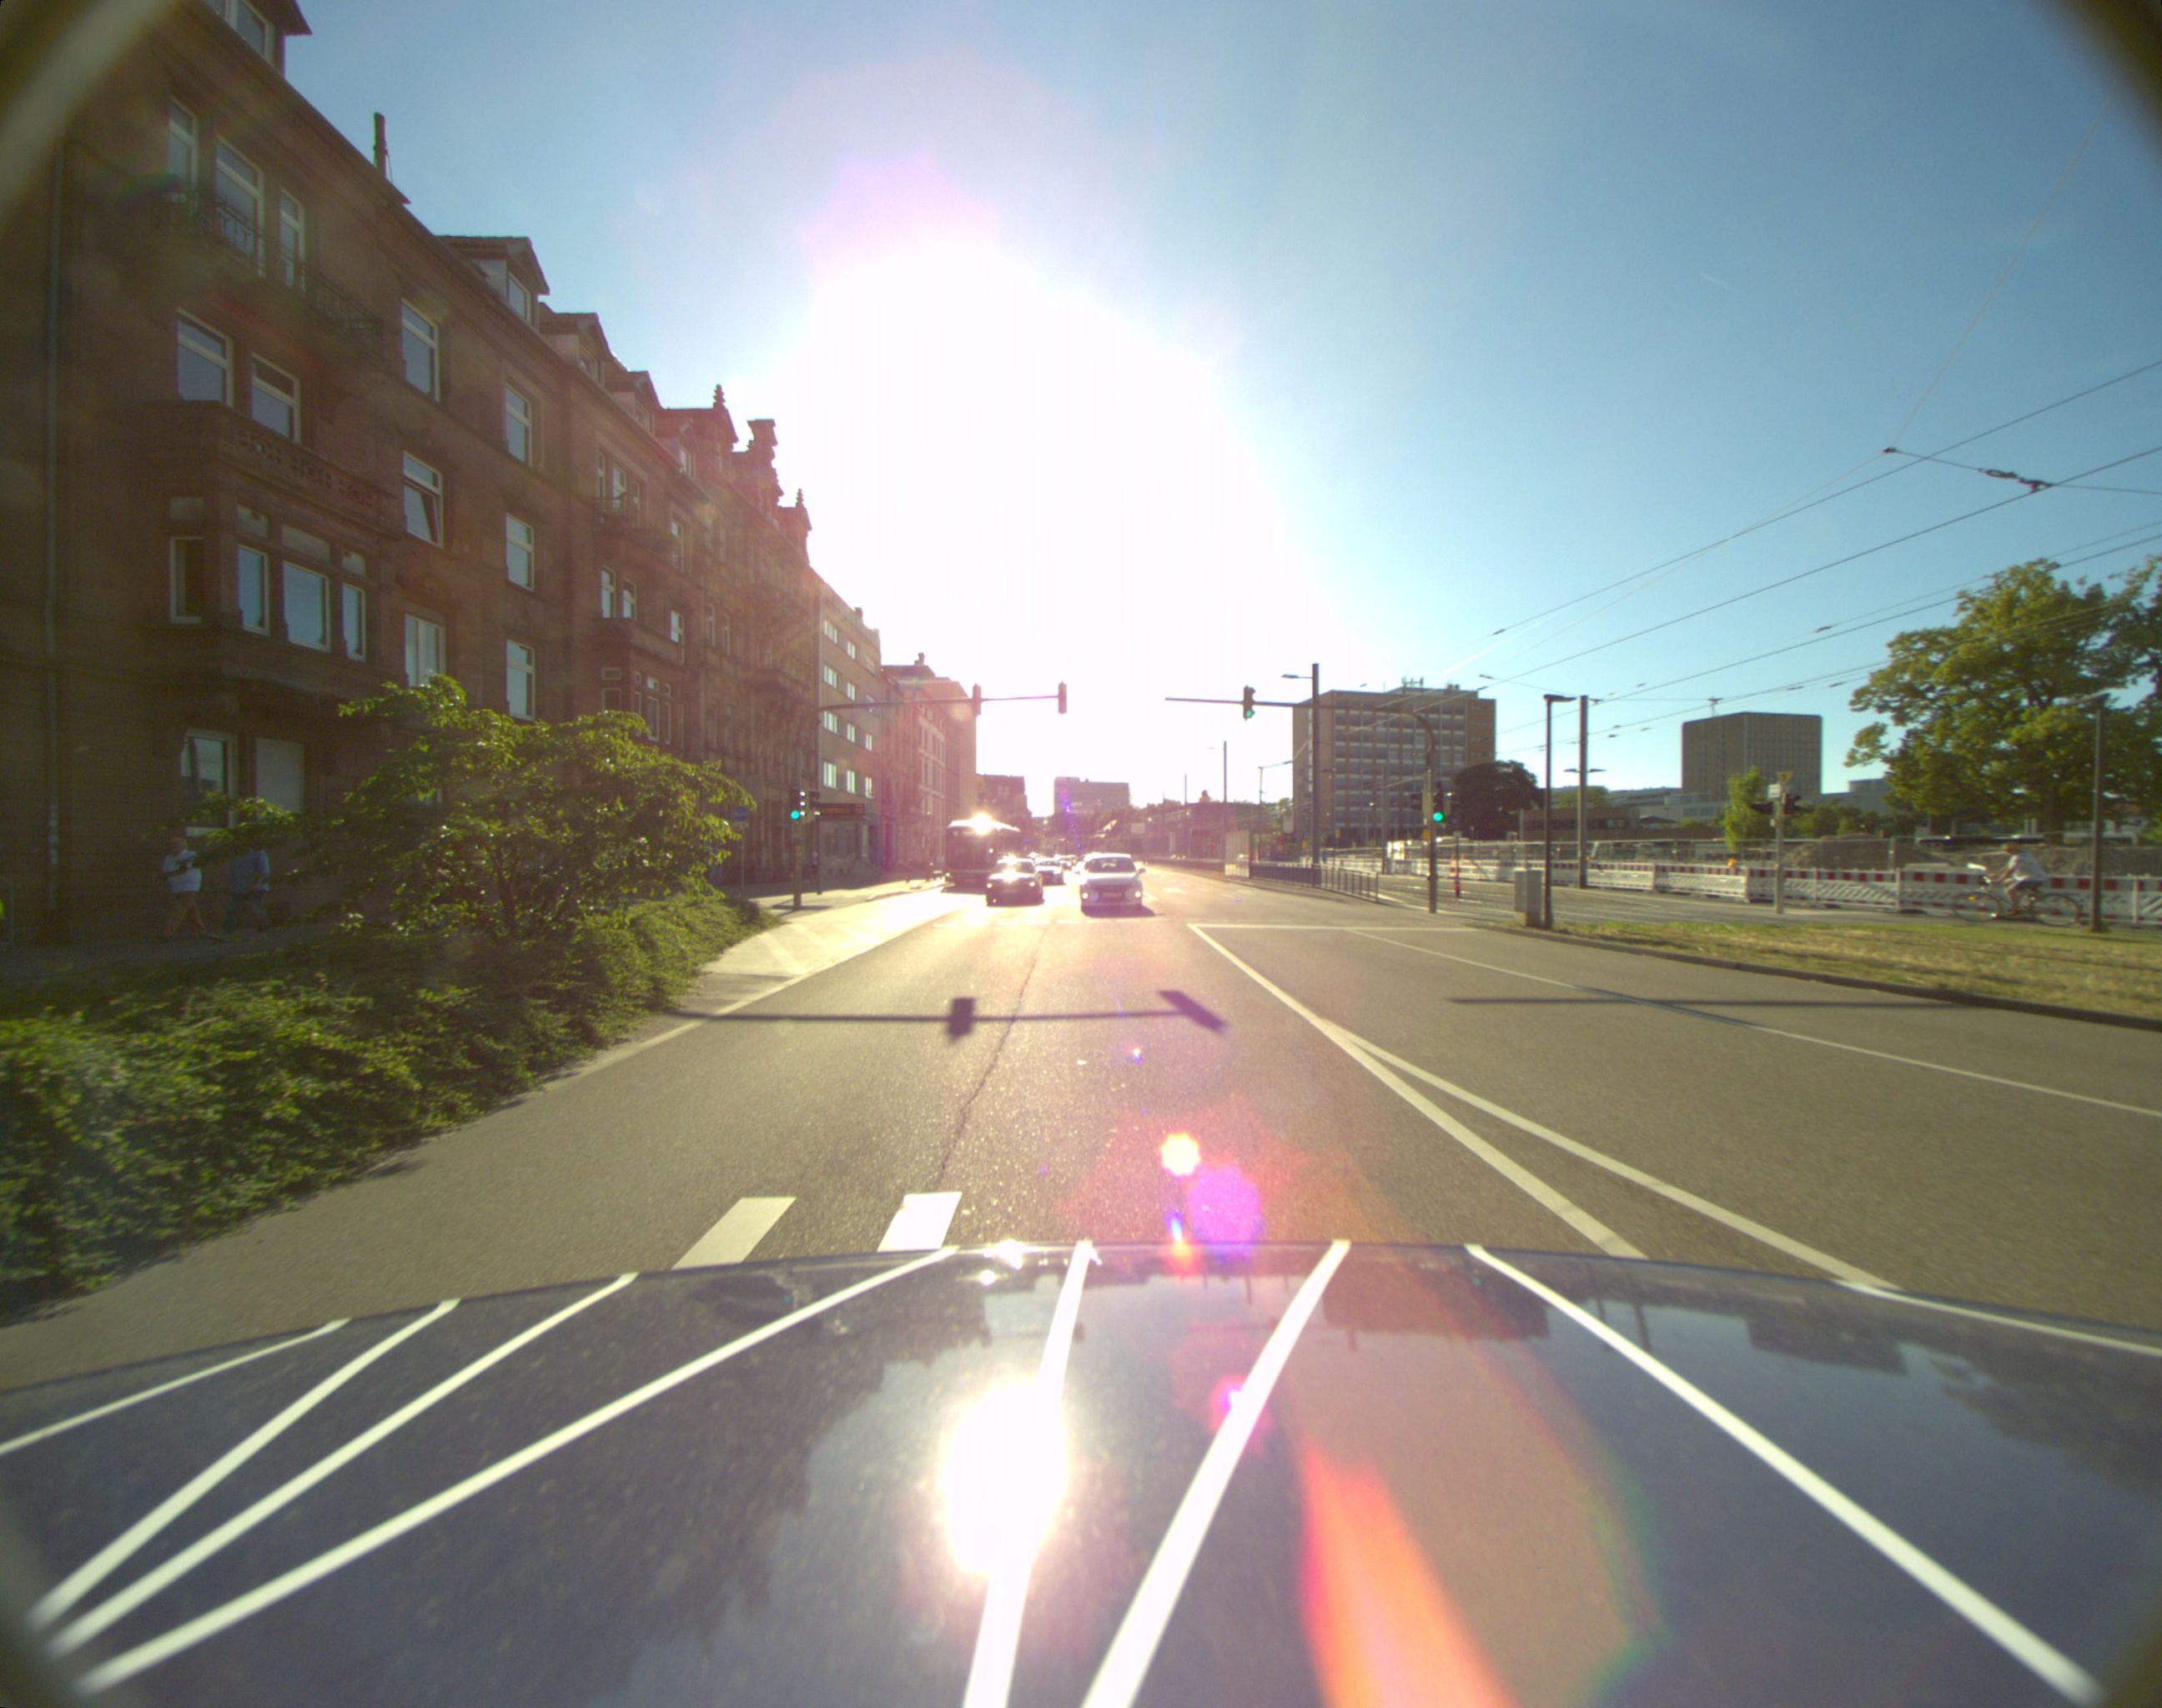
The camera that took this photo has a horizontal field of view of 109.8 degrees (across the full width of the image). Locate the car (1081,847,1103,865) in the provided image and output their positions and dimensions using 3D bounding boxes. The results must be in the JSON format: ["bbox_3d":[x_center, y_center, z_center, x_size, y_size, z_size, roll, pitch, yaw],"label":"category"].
[{"bbox_3d":[1.094,0.181,78.247,1.999,1.666,4.282,2,1,-1],"label":"car"}]

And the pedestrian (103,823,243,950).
[{"bbox_3d":[-14.344,0.496,12.048,0.824,1.919,1.137,0,1,0],"label":"pedestrian"}]

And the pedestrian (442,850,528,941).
[{"bbox_3d":[-11.178,0.753,14.294,0.704,1.646,1.137,0,1,0],"label":"pedestrian"}]

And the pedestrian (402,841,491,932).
[{"bbox_3d":[-11.930,0.588,14.320,0.704,1.646,1.137,0,1,0],"label":"pedestrian"}]

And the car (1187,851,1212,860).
[{"bbox_3d":[23.718,0.361,151.689,4.697,1.673,2.003,0,-2,15],"label":"car"}]

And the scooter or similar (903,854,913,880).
[{"bbox_3d":[-8.647,0.633,38.002,0.433,1.242,1.293,1,2,-11],"label":"scooter or similar"}]

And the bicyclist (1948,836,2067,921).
[{"bbox_3d":[20.449,0.547,16.806,0.965,1.797,1.319,0,-2,-7],"label":"bicyclist"}]

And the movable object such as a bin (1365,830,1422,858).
[{"bbox_3d":[31.454,-0.942,76.681,2.637,2.510,5.163,2,-2,-17],"label":"movable object such as a bin"}]

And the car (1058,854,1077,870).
[{"bbox_3d":[-1.338,0.725,72.413,1.783,1.455,3.914,0,1,-2],"label":"car"}]

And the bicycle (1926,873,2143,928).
[{"bbox_3d":[20.502,0.983,16.486,0.965,1.090,2.823,0,-2,-7],"label":"bicycle"}]

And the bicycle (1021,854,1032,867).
[{"bbox_3d":[-5.098,0.617,71.432,0.470,1.140,1.767,-1,0,-23],"label":"bicycle"}]

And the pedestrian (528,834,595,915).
[{"bbox_3d":[-12.680,0.485,18.577,0.824,1.919,1.137,0,1,0],"label":"pedestrian"}]

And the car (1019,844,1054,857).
[{"bbox_3d":[-5.676,-0.454,97.285,4.260,1.561,1.955,-2,0,-43],"label":"car"}]

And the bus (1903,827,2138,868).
[{"bbox_3d":[81.647,-0.385,66.706,12.625,3.174,3.259,-1,-3,44],"label":"bus"}]

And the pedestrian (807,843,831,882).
[{"bbox_3d":[-12.528,0.426,36.316,0.854,1.822,0.780,1,-2,-1],"label":"pedestrian"}]

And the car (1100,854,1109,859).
[{"bbox_3d":[6.814,0.677,220.321,1.757,1.455,4.016,-1,-1,-12],"label":"car"}]

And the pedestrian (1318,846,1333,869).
[{"bbox_3d":[19.156,0.255,59.471,0.804,1.757,1.180,1,-2,0],"label":"pedestrian"}]

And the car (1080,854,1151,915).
[{"bbox_3d":[0.894,0.775,20.989,1.720,1.483,3.870,-2,0,1],"label":"car"}]

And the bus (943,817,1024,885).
[{"bbox_3d":[-5.114,-0.185,42.255,2.722,3.162,12.540,1,0,1],"label":"bus"}]

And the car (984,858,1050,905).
[{"bbox_3d":[-2.058,0.853,25.443,1.694,1.380,3.832,-2,0,2],"label":"car"}]

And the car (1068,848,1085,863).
[{"bbox_3d":[-0.586,0.195,94.374,1.999,1.673,4.000,1,-2,-3],"label":"car"}]

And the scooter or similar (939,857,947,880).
[{"bbox_3d":[-7.838,0.793,43.155,0.432,1.242,1.293,1,2,-9],"label":"scooter or similar"}]

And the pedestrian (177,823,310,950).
[{"bbox_3d":[-13.269,0.488,12.086,0.824,1.919,1.137,0,1,0],"label":"pedestrian"}]

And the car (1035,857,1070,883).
[{"bbox_3d":[-1.586,0.831,42.085,1.826,1.380,4.456,0,0,-2],"label":"car"}]
